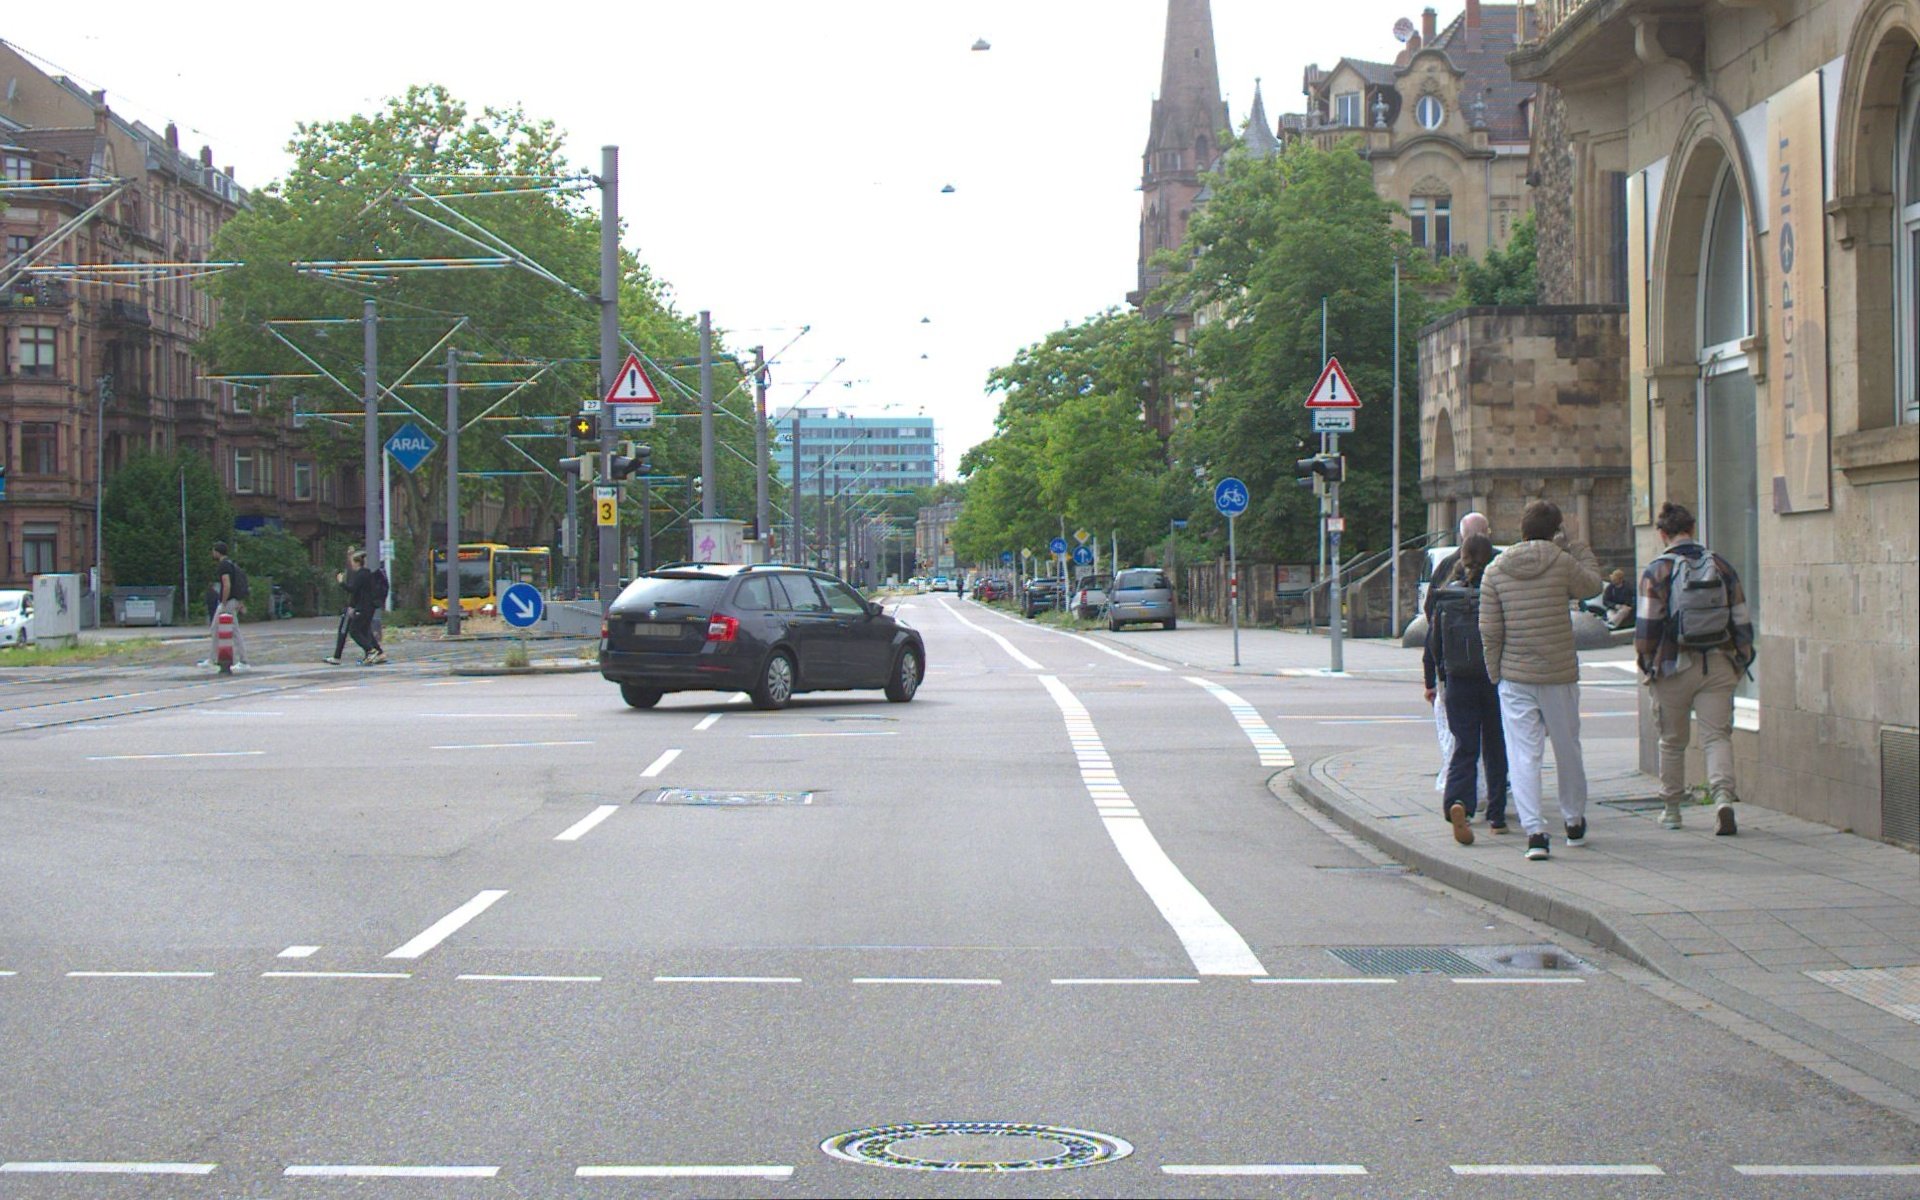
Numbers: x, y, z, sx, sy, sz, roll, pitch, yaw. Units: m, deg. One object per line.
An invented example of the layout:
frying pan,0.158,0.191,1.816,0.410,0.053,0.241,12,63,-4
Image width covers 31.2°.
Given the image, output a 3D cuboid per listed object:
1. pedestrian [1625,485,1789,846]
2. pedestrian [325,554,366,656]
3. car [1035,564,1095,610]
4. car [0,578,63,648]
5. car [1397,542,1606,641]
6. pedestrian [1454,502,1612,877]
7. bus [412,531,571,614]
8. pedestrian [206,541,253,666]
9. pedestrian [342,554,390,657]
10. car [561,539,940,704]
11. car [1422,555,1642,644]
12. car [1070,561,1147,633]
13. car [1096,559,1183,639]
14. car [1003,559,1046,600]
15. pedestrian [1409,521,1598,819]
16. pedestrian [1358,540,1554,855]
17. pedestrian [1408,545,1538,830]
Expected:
pedestrian,3.836,0.326,17.717,0.626,1.772,1.134,-3,0,7
pedestrian,-9.324,0.068,52.178,0.545,1.532,0.466,1,0,-5
car,3.903,-0.492,128.486,1.993,1.602,4.164,-2,0,-1
car,-22.081,0.272,79.155,1.894,1.552,3.836,1,0,-1
car,10.730,-0.172,68.318,3.799,1.897,2.000,1,0,0
pedestrian,2.877,0.428,17.211,0.583,1.807,1.014,1,0,19
bus,-18.565,-1.086,137.225,3.085,3.101,13.091,1,0,7
pedestrian,-10.518,0.051,49.490,0.573,1.788,0.519,1,0,-5
pedestrian,-8.914,0.084,51.578,0.653,1.532,0.466,1,0,-5
car,-2.091,0.206,35.621,1.809,1.581,4.333,1,0,30
car,10.767,-0.013,64.909,3.799,1.595,2.000,1,0,0
car,4.279,-0.099,99.672,1.993,2.007,4.000,1,0,-1
car,4.685,-0.038,90.149,1.993,2.007,4.000,1,0,-1
car,3.213,-1.045,172.430,1.993,2.007,4.000,1,0,-1
pedestrian,3.323,0.411,21.019,0.917,1.778,0.646,1,0,37
pedestrian,2.686,0.511,18.577,0.627,1.647,0.994,1,0,37
pedestrian,2.936,0.486,19.715,0.700,1.587,0.831,1,0,8
